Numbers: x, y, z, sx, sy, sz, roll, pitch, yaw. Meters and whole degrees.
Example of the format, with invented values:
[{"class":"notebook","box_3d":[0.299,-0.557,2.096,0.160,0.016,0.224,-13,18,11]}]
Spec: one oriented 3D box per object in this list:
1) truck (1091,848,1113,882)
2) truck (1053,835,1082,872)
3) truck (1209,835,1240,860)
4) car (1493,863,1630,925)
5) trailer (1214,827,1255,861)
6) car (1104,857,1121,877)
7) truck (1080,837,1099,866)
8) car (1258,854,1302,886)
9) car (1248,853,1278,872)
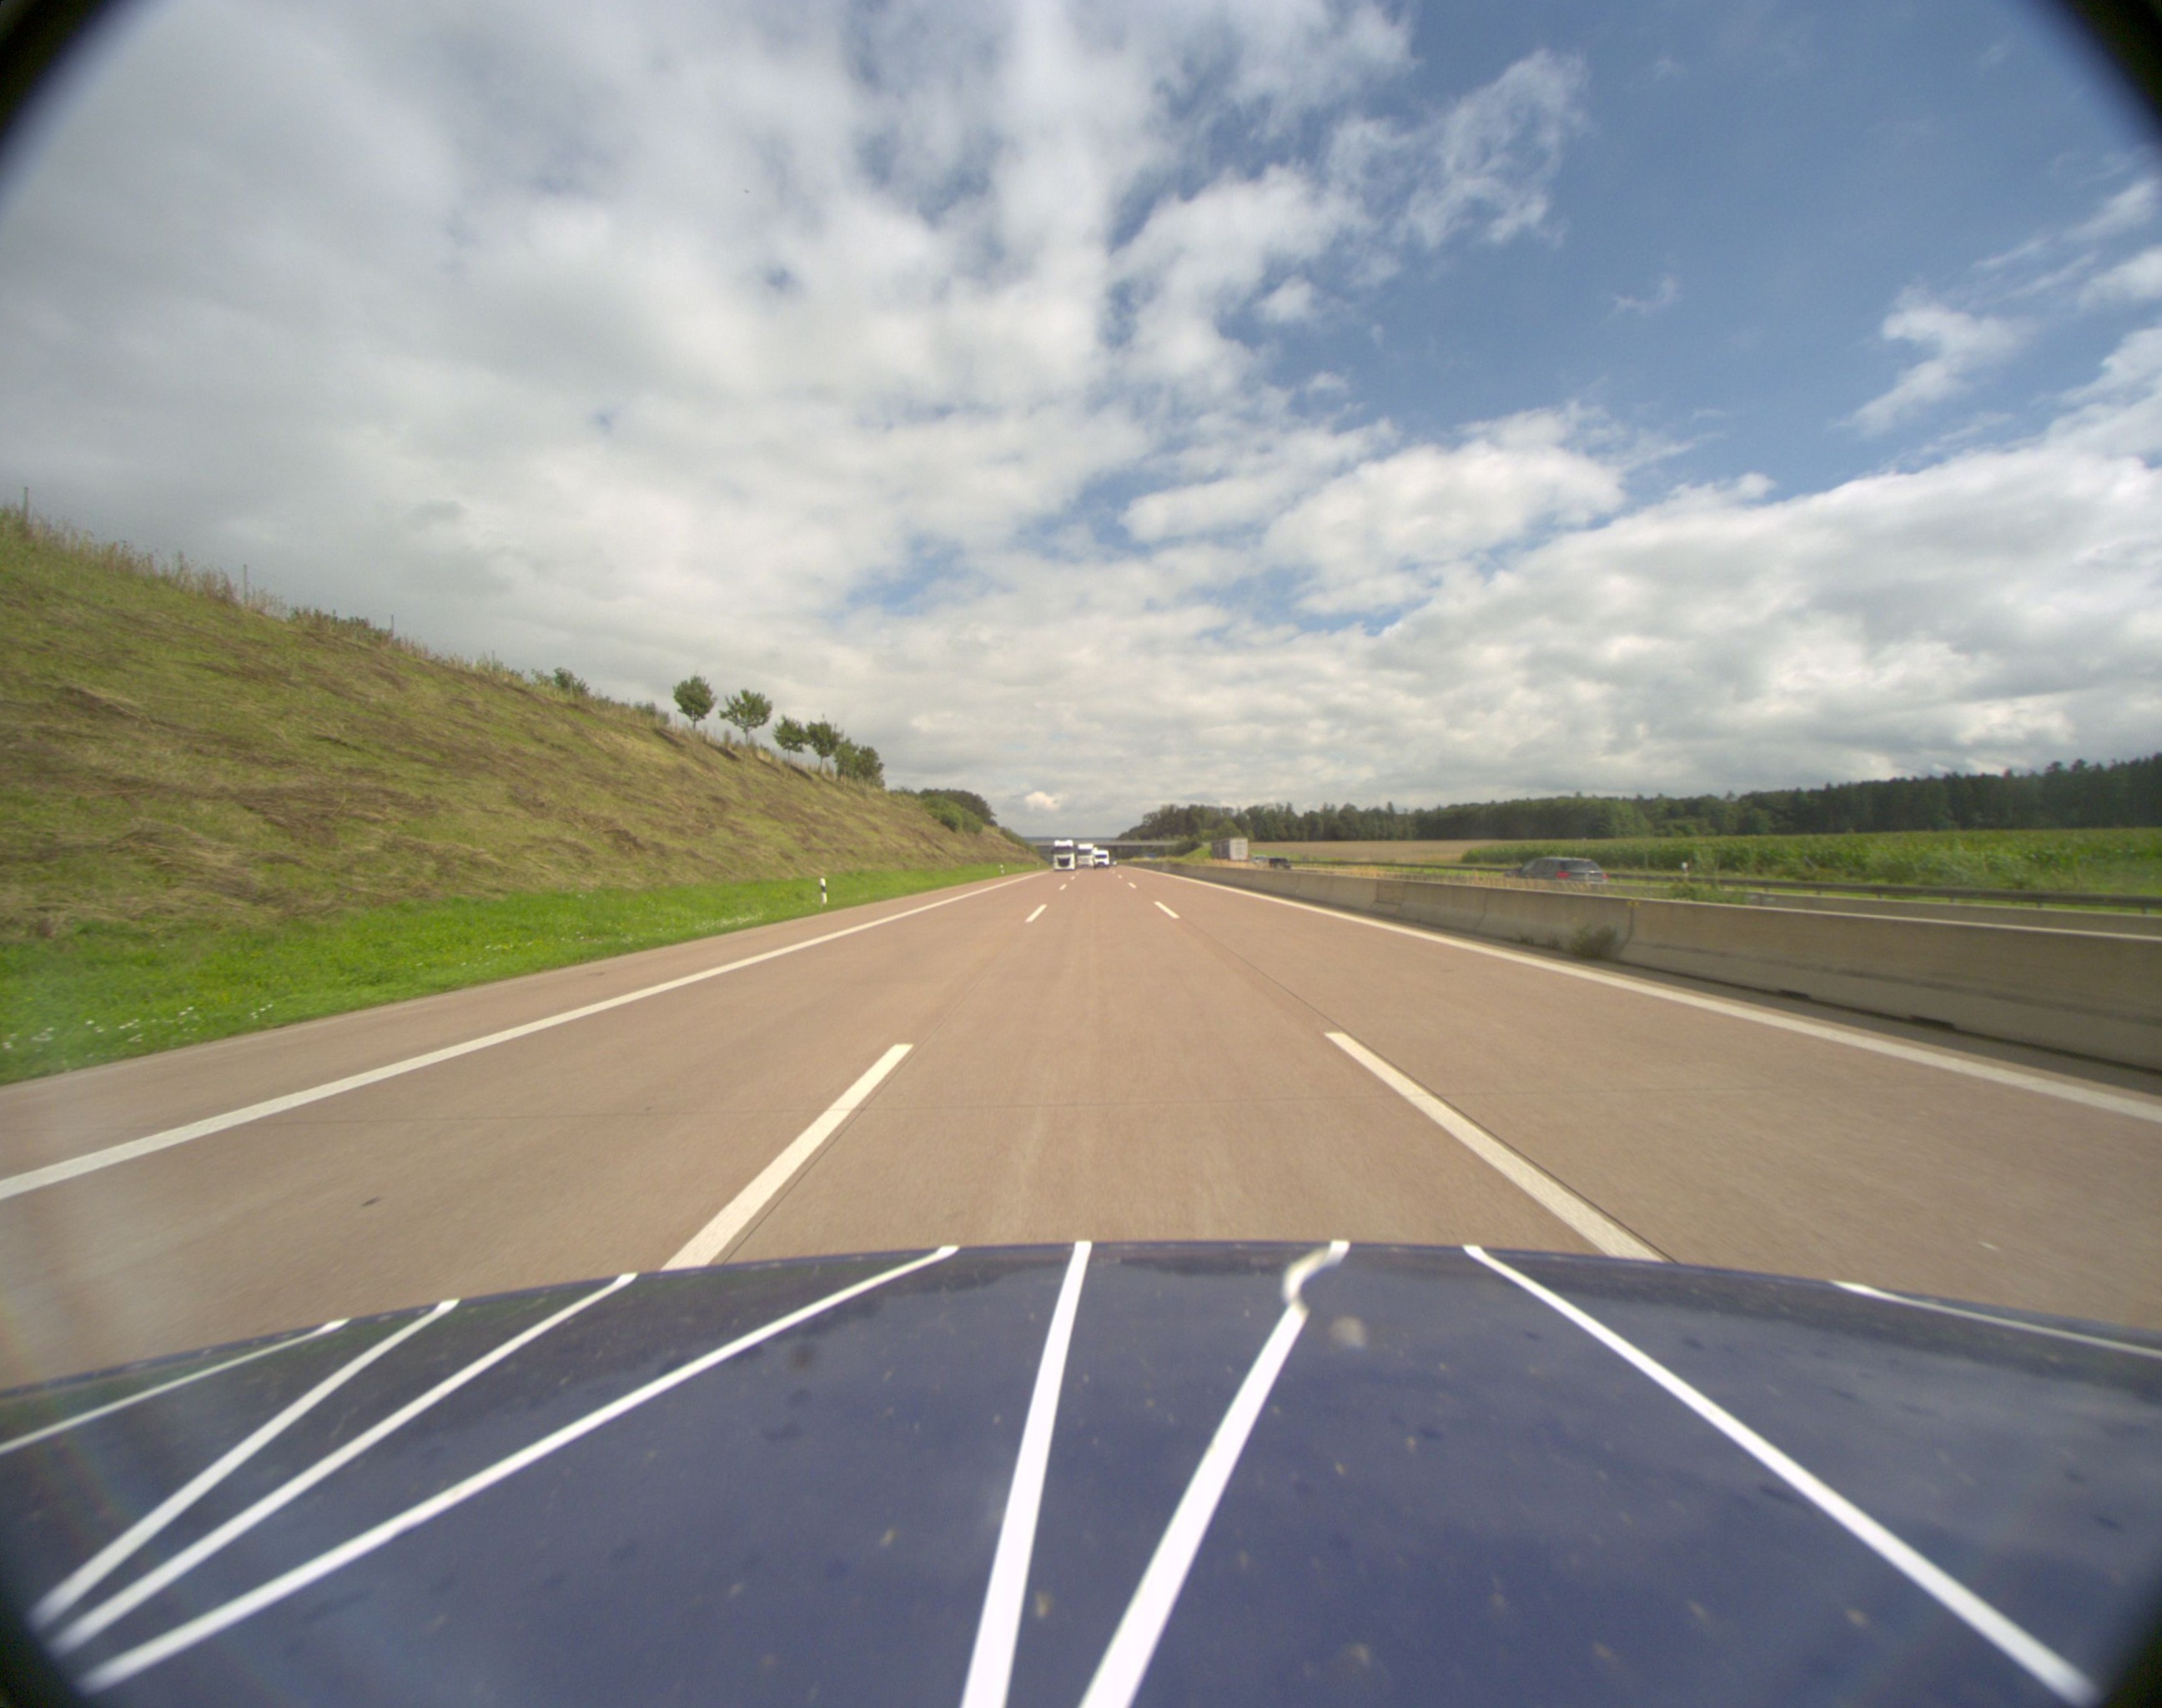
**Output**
[{"class":"truck","box_3d":[2.786,1.352,104.842,2.681,4.334,11.807,-2,1,1]},{"class":"truck","box_3d":[-1.651,-0.151,97.264,3.107,4.334,11.255,-2,1,1]},{"class":"truck","box_3d":[22.266,-0.998,118.335,3.419,3.802,7.465,-1,0,1]},{"class":"car","box_3d":[16.125,1.273,25.779,1.999,1.850,4.195,-1,0,0]},{"class":"trailer","box_3d":[22.049,-1.329,110.323,3.413,4.549,13.870,-1,0,1]},{"class":"car","box_3d":[5.543,2.274,133.762,2.773,3.261,6.392,-2,1,2]},{"class":"truck","box_3d":[1.427,-0.430,130.579,2.926,4.659,11.807,-2,1,1]},{"class":"car","box_3d":[13.457,1.040,51.561,1.998,2.002,4.000,-1,0,1]},{"class":"car","box_3d":[17.886,0.798,74.698,1.999,1.850,3.999,-1,0,0]}]
